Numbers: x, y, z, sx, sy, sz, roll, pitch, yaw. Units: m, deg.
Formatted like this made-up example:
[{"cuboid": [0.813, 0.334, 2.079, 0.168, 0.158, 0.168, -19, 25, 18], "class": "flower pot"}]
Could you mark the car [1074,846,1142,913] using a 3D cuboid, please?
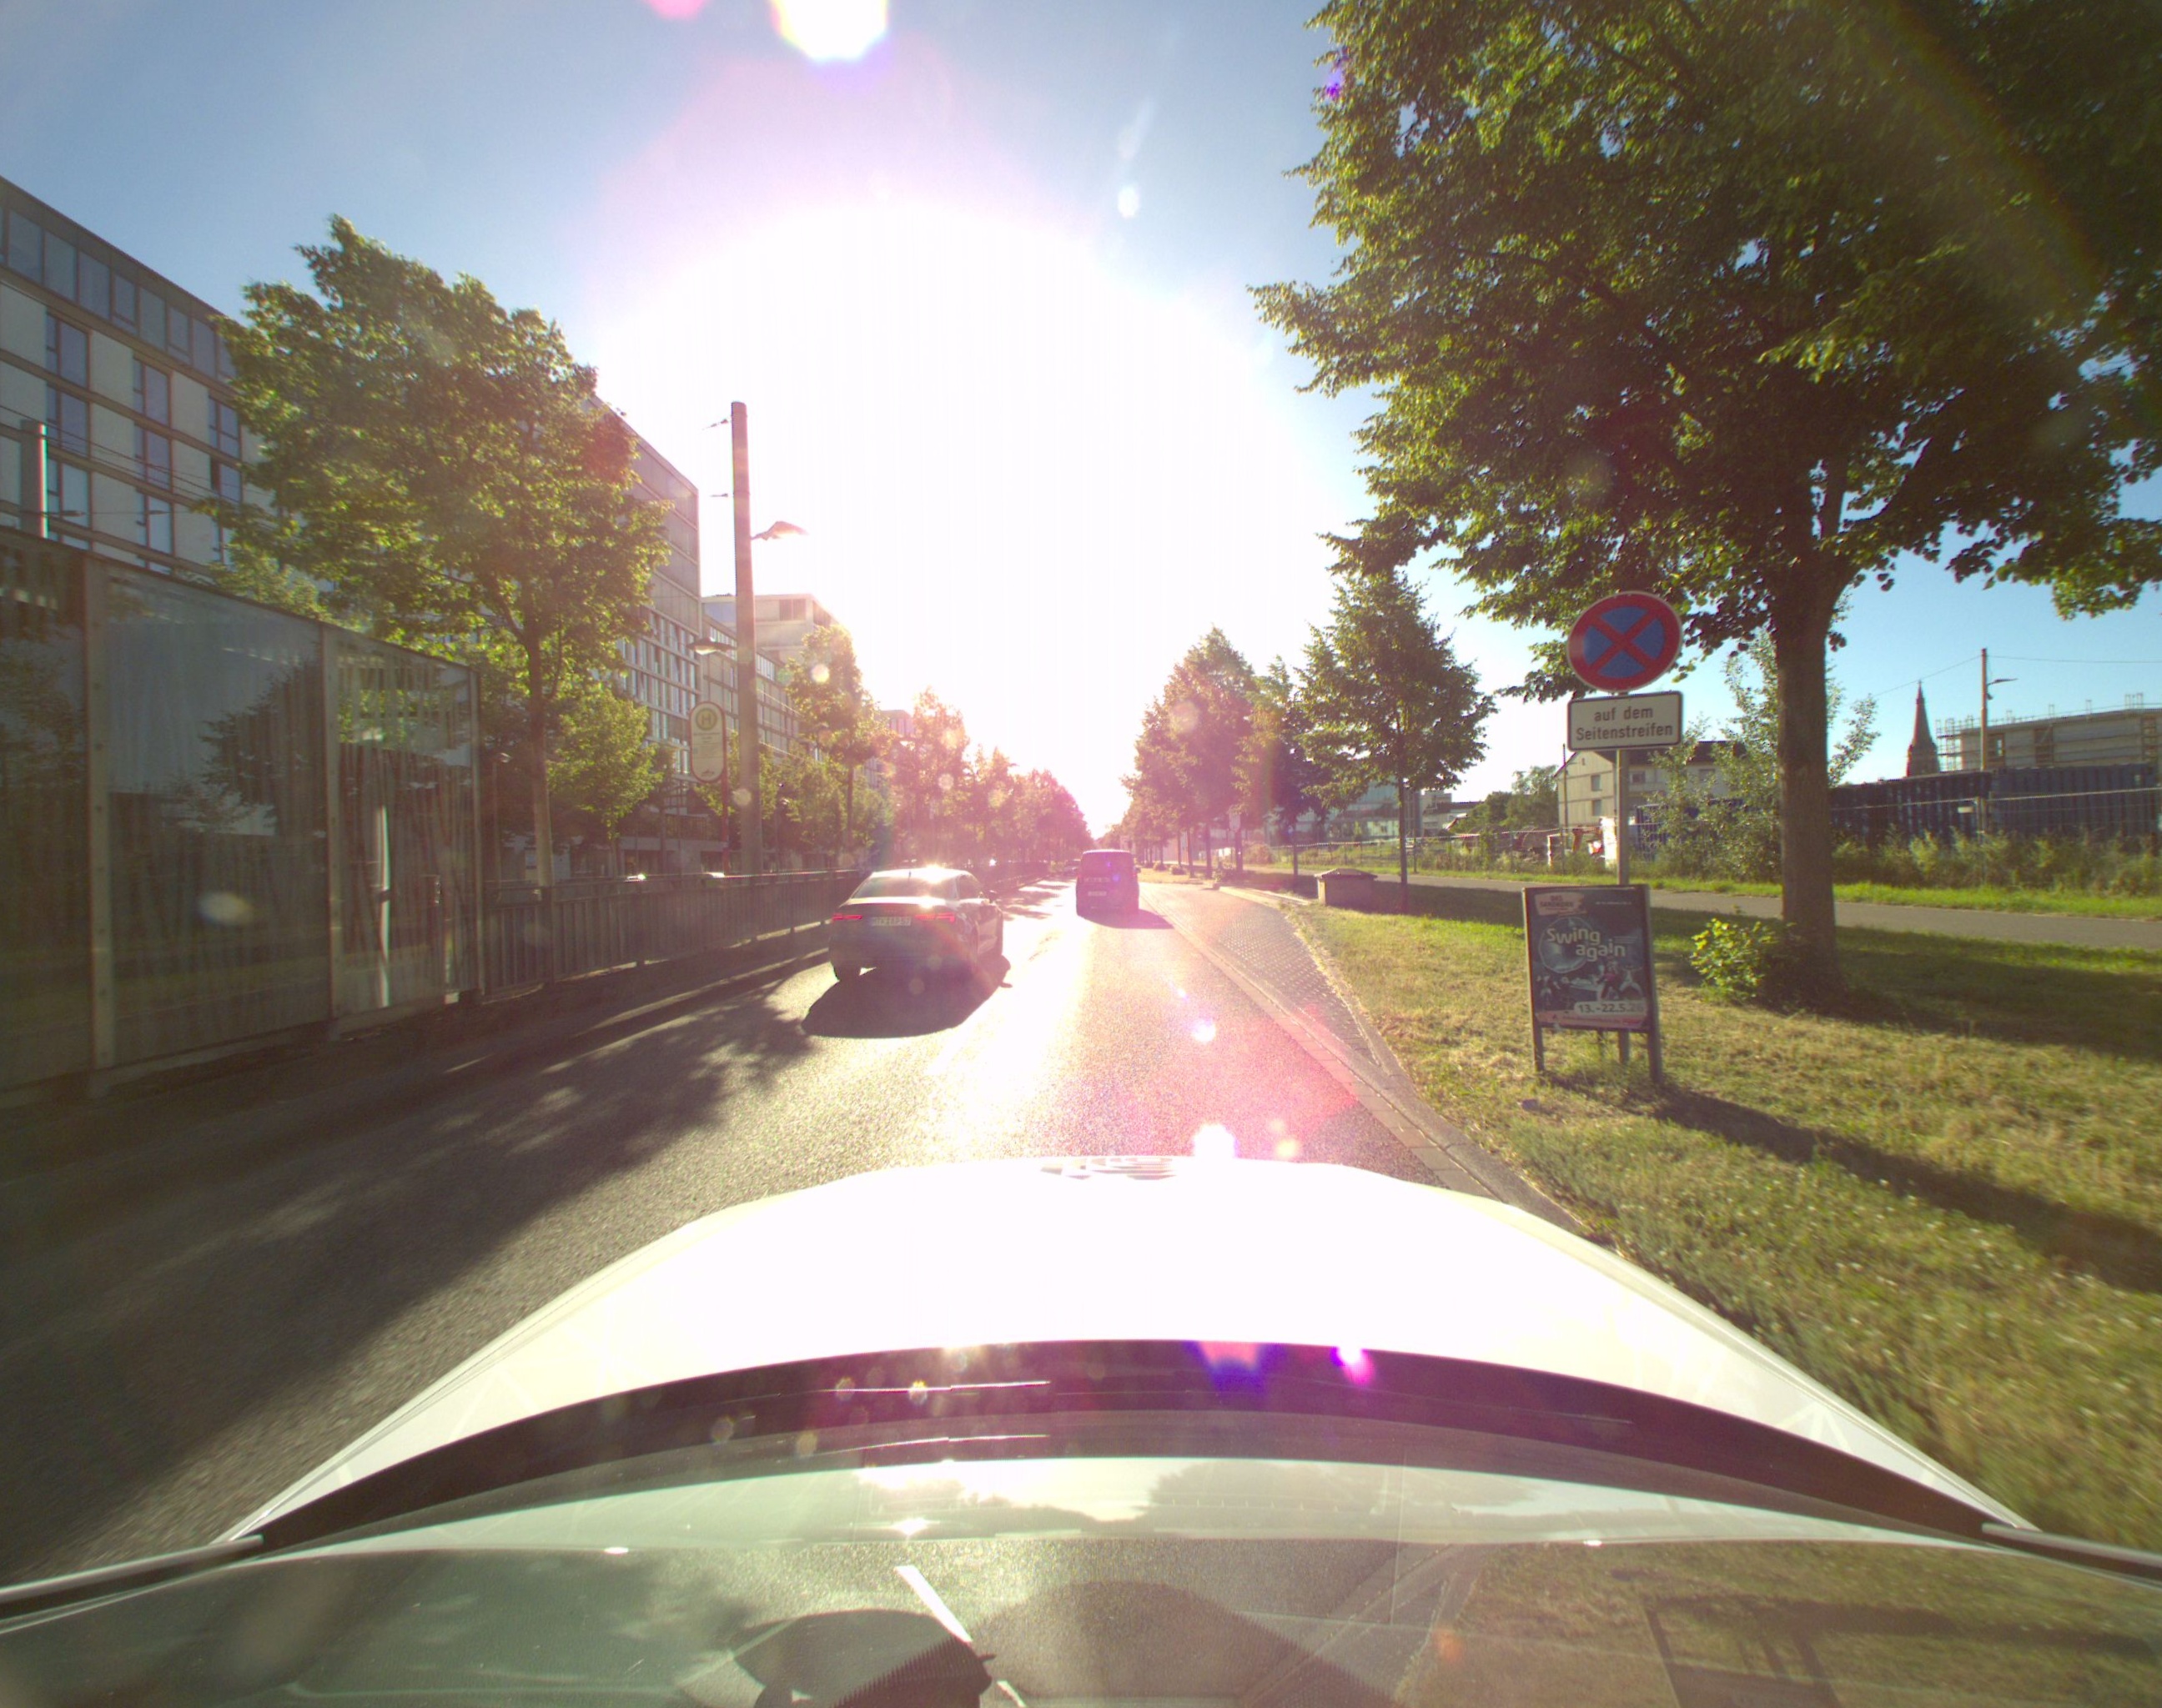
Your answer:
[{"cuboid": [0.719, 0.706, 23.956, 1.792, 1.777, 3.999, -1, -1, 0], "class": "car"}]

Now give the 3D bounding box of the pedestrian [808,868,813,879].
[{"cuboid": [-34.736, 2.509, 104.500, 0.406, 1.413, 0.690, -1, -2, 1], "class": "pedestrian"}]

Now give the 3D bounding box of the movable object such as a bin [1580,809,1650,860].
[{"cuboid": [22.771, -0.798, 34.786, 1.788, 2.014, 1.790, -2, -2, 2], "class": "movable object such as a bin"}]

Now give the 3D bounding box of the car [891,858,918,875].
[{"cuboid": [-20.339, 1.429, 93.895, 1.986, 1.750, 4.228, -3, -1, 1], "class": "car"}]

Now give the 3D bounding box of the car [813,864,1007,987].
[{"cuboid": [-2.159, 0.845, 11.447, 1.714, 1.366, 4.148, 0, 0, 2], "class": "car"}]

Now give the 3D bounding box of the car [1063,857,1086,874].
[{"cuboid": [-0.564, 1.018, 72.873, 1.936, 1.441, 3.999, -2, 0, -1], "class": "car"}]
